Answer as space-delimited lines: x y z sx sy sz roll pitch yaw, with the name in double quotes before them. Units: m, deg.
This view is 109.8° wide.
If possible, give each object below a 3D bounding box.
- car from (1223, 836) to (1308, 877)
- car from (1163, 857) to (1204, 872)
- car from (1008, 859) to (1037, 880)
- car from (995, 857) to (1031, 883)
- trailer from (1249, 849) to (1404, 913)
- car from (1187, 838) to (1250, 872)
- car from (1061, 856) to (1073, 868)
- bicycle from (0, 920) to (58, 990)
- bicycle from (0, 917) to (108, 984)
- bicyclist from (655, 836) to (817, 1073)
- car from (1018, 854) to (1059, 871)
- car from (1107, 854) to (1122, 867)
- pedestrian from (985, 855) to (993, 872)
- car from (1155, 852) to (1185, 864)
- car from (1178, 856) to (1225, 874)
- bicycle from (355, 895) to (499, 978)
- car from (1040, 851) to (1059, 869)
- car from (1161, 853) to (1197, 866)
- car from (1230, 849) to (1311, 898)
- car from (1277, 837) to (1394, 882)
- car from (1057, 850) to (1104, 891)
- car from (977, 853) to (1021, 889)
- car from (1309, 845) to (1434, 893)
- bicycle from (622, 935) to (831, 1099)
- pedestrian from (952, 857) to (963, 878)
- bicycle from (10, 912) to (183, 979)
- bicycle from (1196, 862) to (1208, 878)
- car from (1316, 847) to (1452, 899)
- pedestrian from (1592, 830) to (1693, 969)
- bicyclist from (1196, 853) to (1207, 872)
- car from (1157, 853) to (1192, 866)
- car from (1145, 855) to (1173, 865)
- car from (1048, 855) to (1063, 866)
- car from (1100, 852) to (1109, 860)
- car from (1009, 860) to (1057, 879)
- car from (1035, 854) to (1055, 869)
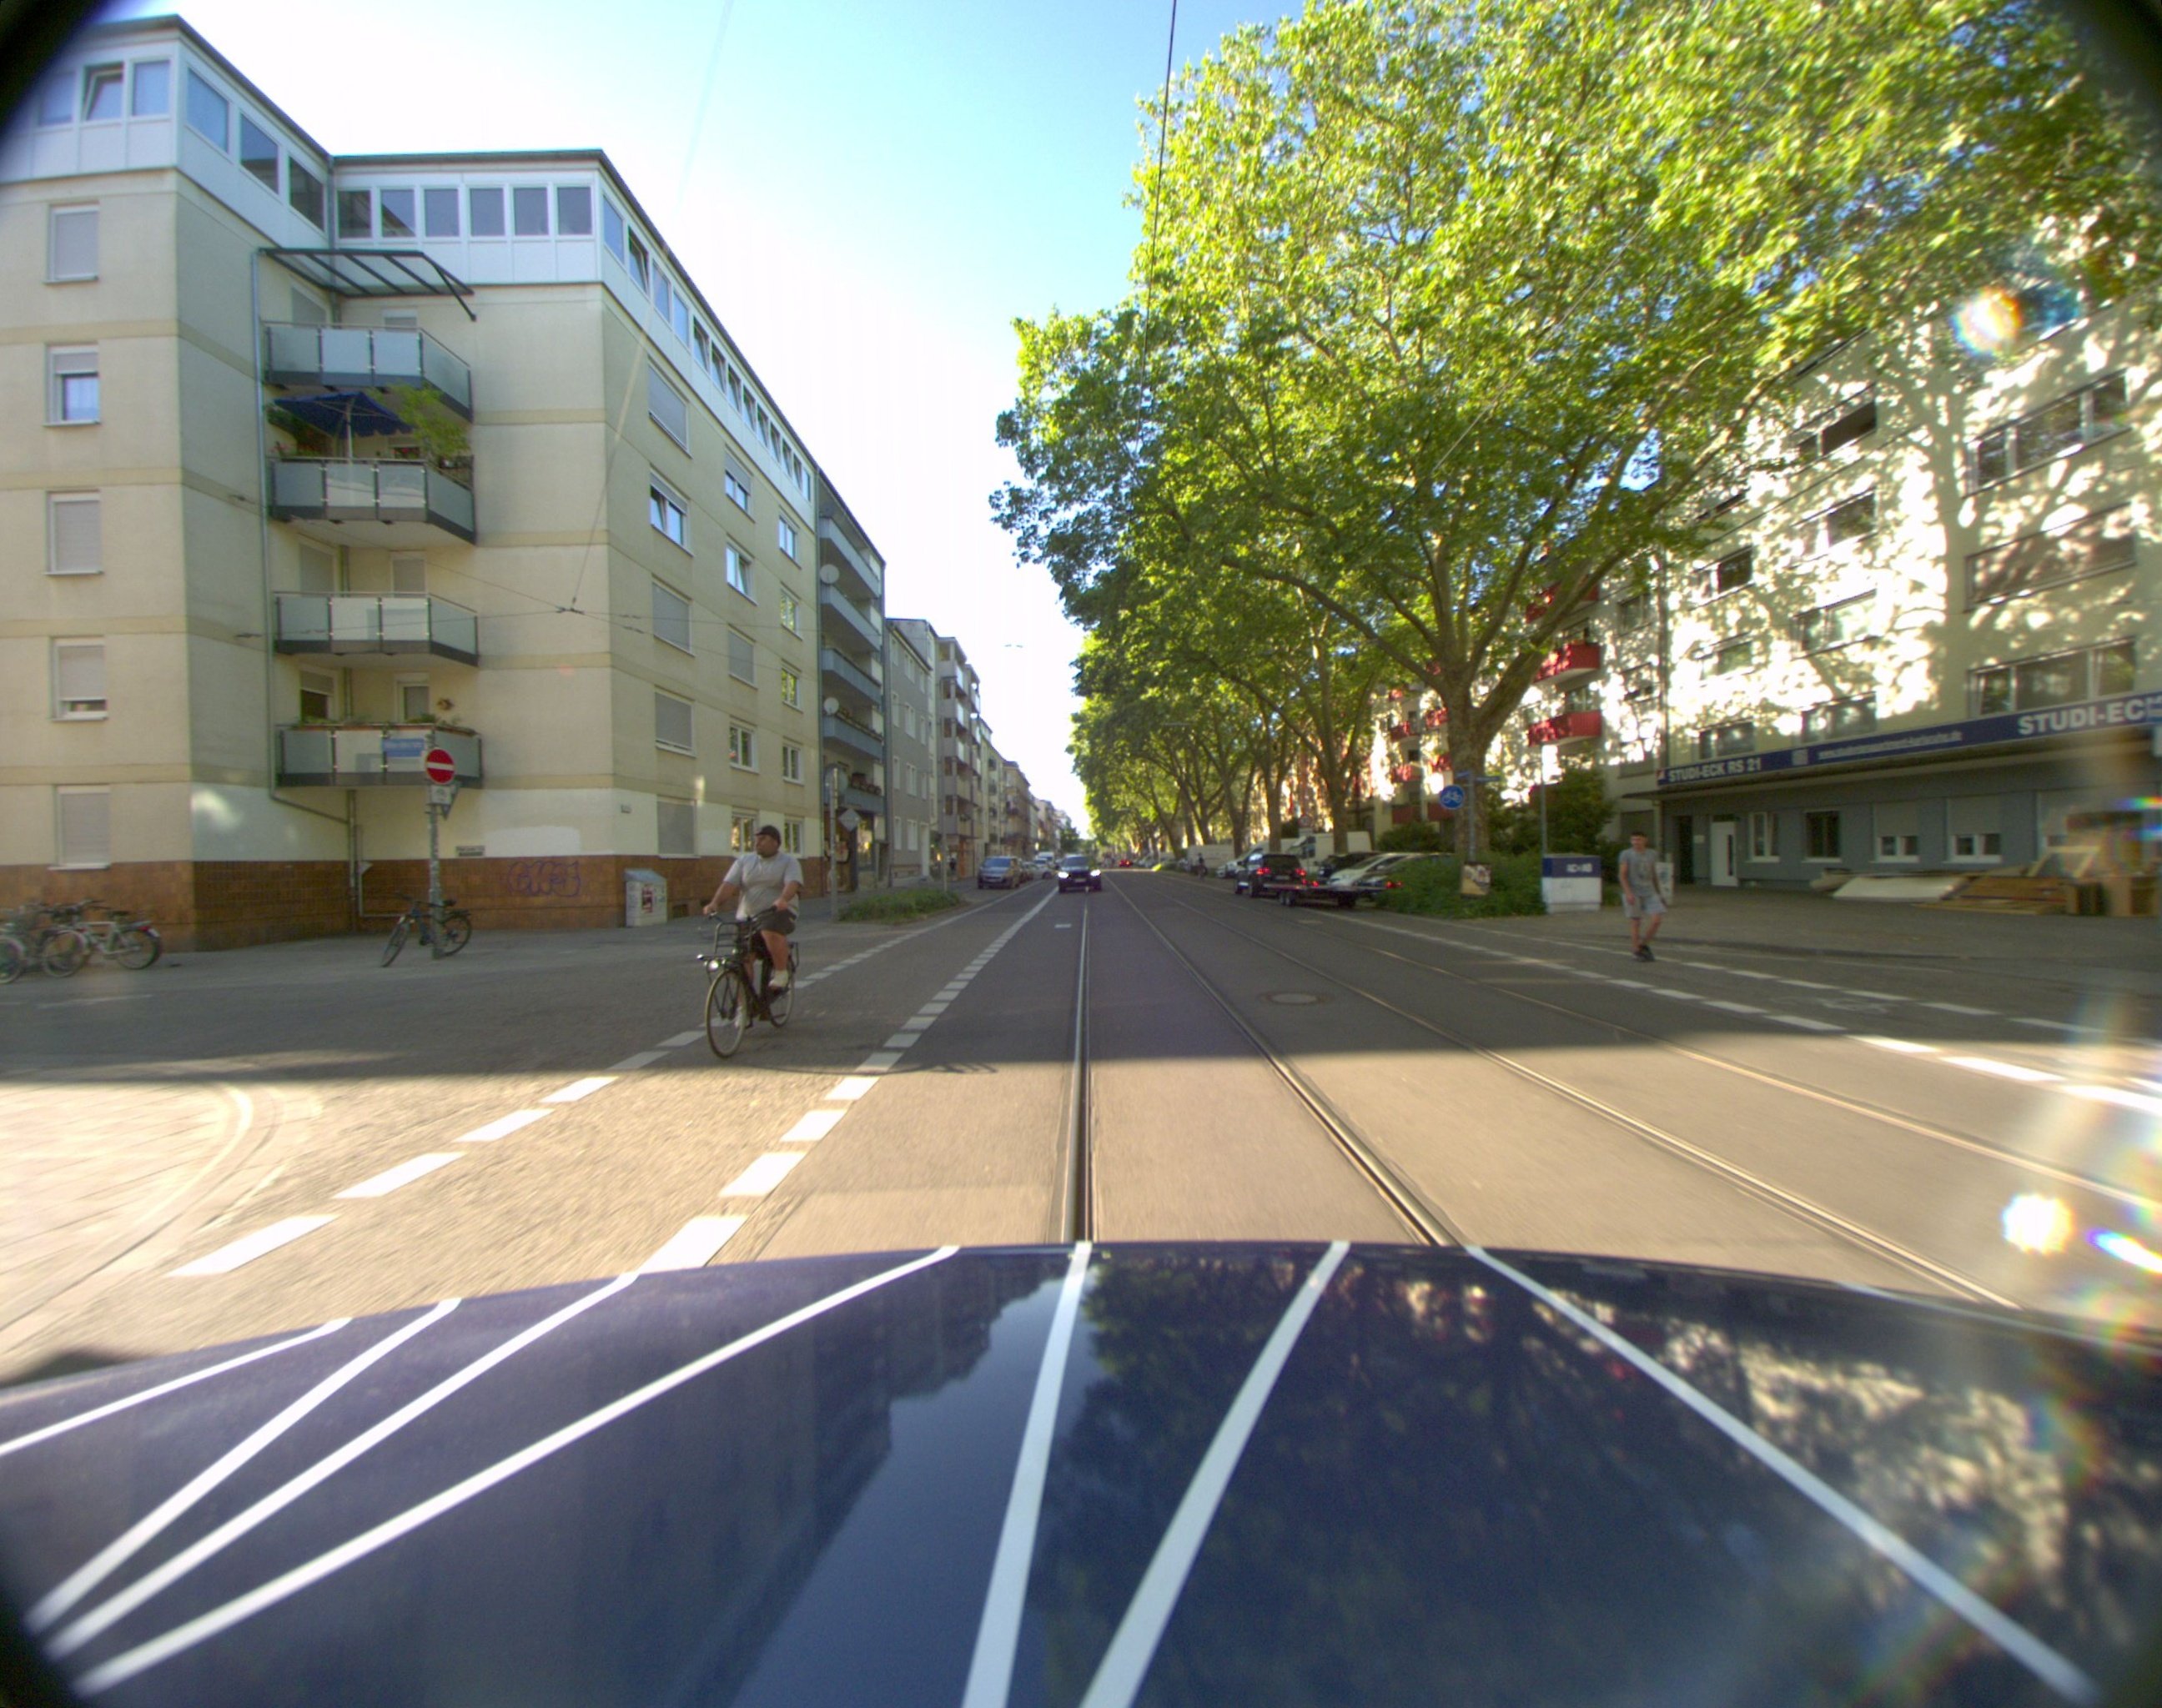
"car" 11.209 0.157 46.464 4.661 2.292 2.000 -2 1 1
"car" 10.992 1.110 81.699 3.997 1.458 2.000 -2 1 -1
"car" -4.584 1.173 59.762 1.867 1.499 4.000 -2 0 1
"car" -4.692 1.074 53.106 1.998 1.674 4.000 -2 0 1
"trailer" 7.190 0.693 23.266 2.453 1.622 6.583 1 0 -1
"car" 11.042 0.083 61.164 4.661 2.518 2.000 -2 1 1
"car" -2.664 1.515 145.788 1.998 2.002 4.000 -2 0 1
"bicycle" -15.947 1.465 10.850 2.109 0.925 0.499 -2 1 4
"bicycle" -16.049 1.464 11.503 2.109 0.925 0.499 -2 1 4
"bicyclist" -2.884 0.786 6.480 0.769 1.821 1.099 -3 1 1
"car" -4.215 0.835 76.611 3.997 1.458 2.000 -2 1 -1
"car" 4.810 0.871 109.434 1.998 1.723 4.399 -2 0 1
"pedestrian" -9.002 0.936 74.451 0.697 1.685 0.678 -2 1 0
"car" 12.831 0.565 110.055 3.997 1.458 2.000 -2 1 -1
"car" 11.097 1.001 70.337 3.997 1.458 2.000 -2 1 -1
"bicycle" -10.798 1.320 12.653 0.616 1.144 1.995 -1 1 1
"car" -3.841 0.696 93.946 1.991 2.085 4.470 -2 0 1
"car" 11.847 0.676 91.895 3.997 1.458 2.000 -2 1 -1
"car" 7.044 0.667 28.691 1.928 1.674 4.181 1 0 -1
"car" 12.618 0.248 37.884 5.134 1.984 1.999 -2 1 -4
"car" 0.011 0.749 36.208 1.998 1.723 4.399 -3 0 1
"car" -4.679 0.929 43.856 1.958 1.914 4.000 -2 0 1
"car" 11.163 0.559 29.392 3.997 1.635 2.000 -2 1 -1
"bicycle" -2.858 1.272 6.412 0.790 0.932 1.939 -2 0 1
"pedestrian" -8.869 0.991 54.591 0.590 1.493 0.600 -2 1 0
"bicycle" -15.747 1.455 12.175 2.109 0.986 0.607 -1 1 4
"bicycle" 7.659 1.011 48.221 0.533 0.900 1.557 -2 1 1
"car" 10.612 0.635 26.795 3.997 1.600 1.908 -2 1 -1
"pedestrian" 7.579 0.586 10.282 0.700 1.781 0.801 -2 1 -12
"bicyclist" 7.640 0.538 48.273 0.533 1.206 0.666 -2 1 1
"car" 11.724 0.726 95.230 3.997 1.458 2.000 -2 1 -1
"car" 11.942 0.909 116.192 3.997 1.458 1.792 -2 1 -1
"car" -3.798 1.025 113.811 1.867 1.499 4.000 -2 0 1
"car" 5.625 0.515 181.453 1.998 1.723 4.399 -2 0 1
"car" -4.099 1.319 65.352 3.997 1.458 2.000 -2 1 -1
"car" -3.970 0.813 84.499 1.867 1.499 4.000 -2 0 1
